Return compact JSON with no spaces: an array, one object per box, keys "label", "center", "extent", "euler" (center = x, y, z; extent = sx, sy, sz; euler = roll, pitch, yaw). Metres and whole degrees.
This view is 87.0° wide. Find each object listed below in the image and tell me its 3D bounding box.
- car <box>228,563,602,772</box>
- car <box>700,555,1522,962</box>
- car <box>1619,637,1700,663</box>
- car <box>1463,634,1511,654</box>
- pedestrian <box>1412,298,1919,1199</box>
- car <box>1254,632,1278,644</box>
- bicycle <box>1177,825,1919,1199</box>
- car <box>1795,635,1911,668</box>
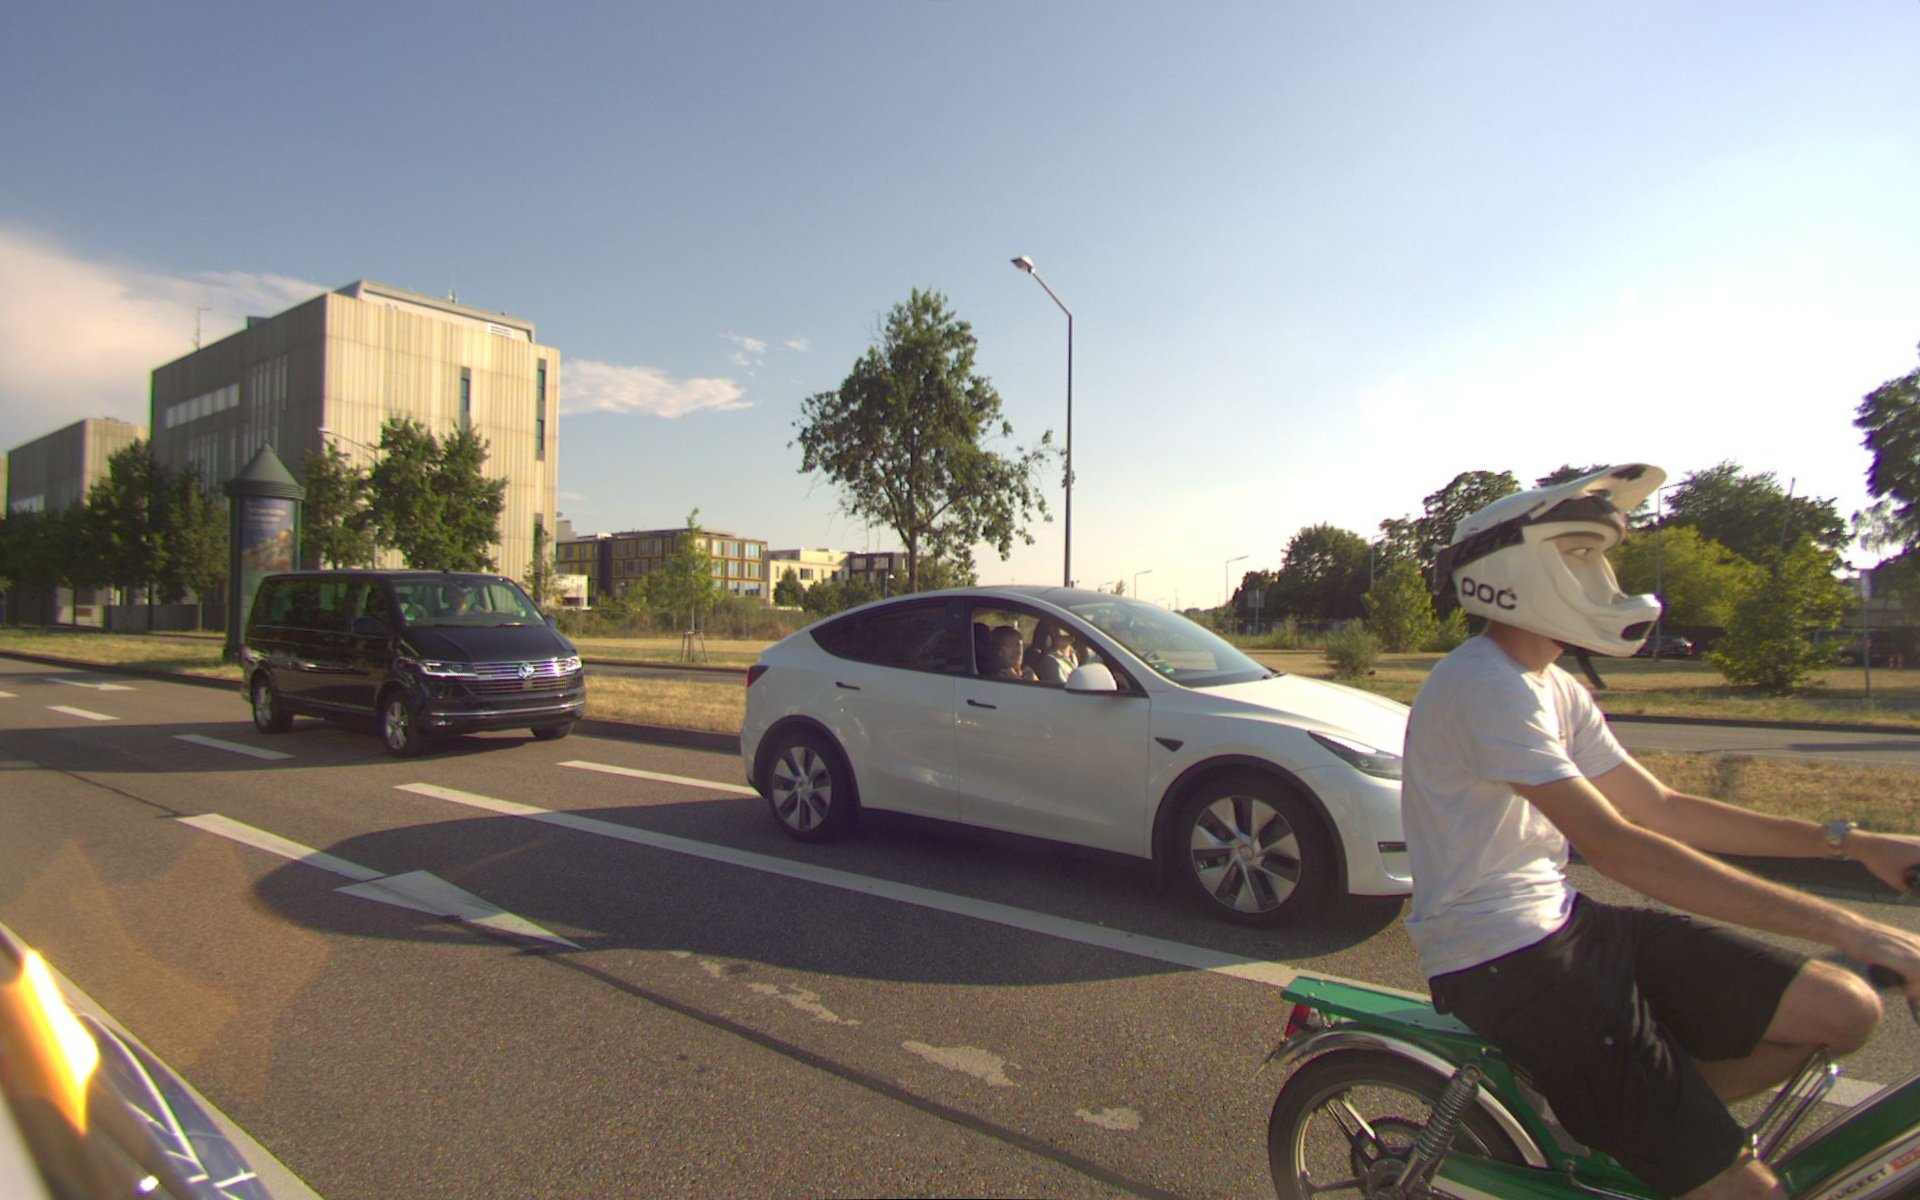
[{"label":"car","center":[-6.415,0.646,11.654],"extent":[5.003,1.947,1.839],"euler":[-1,-1,36]},{"label":"car","center":[0.620,0.666,6.121],"extent":[4.669,1.611,1.719],"euler":[-1,-1,37]},{"label":"car","center":[43.478,3.087,63.012],"extent":[1.631,1.537,4.407],"euler":[0,-2,-6]},{"label":"car","center":[41.059,3.421,78.887],"extent":[1.557,1.558,3.383],"euler":[1,-2,-10]},{"label":"pedestrian","center":[1.293,0.389,1.652],"extent":[0.854,1.530,0.649],"euler":[-1,-3,41]},{"label":"car","center":[32.062,3.984,106.035],"extent":[1.315,1.302,2.810],"euler":[1,-2,-10]},{"label":"bicycle","center":[1.288,0.954,1.604],"extent":[1.855,0.882,0.472],"euler":[-1,-3,41]},{"label":"car","center":[45.143,2.575,51.307],"extent":[1.631,1.537,4.407],"euler":[0,-2,-6]}]
